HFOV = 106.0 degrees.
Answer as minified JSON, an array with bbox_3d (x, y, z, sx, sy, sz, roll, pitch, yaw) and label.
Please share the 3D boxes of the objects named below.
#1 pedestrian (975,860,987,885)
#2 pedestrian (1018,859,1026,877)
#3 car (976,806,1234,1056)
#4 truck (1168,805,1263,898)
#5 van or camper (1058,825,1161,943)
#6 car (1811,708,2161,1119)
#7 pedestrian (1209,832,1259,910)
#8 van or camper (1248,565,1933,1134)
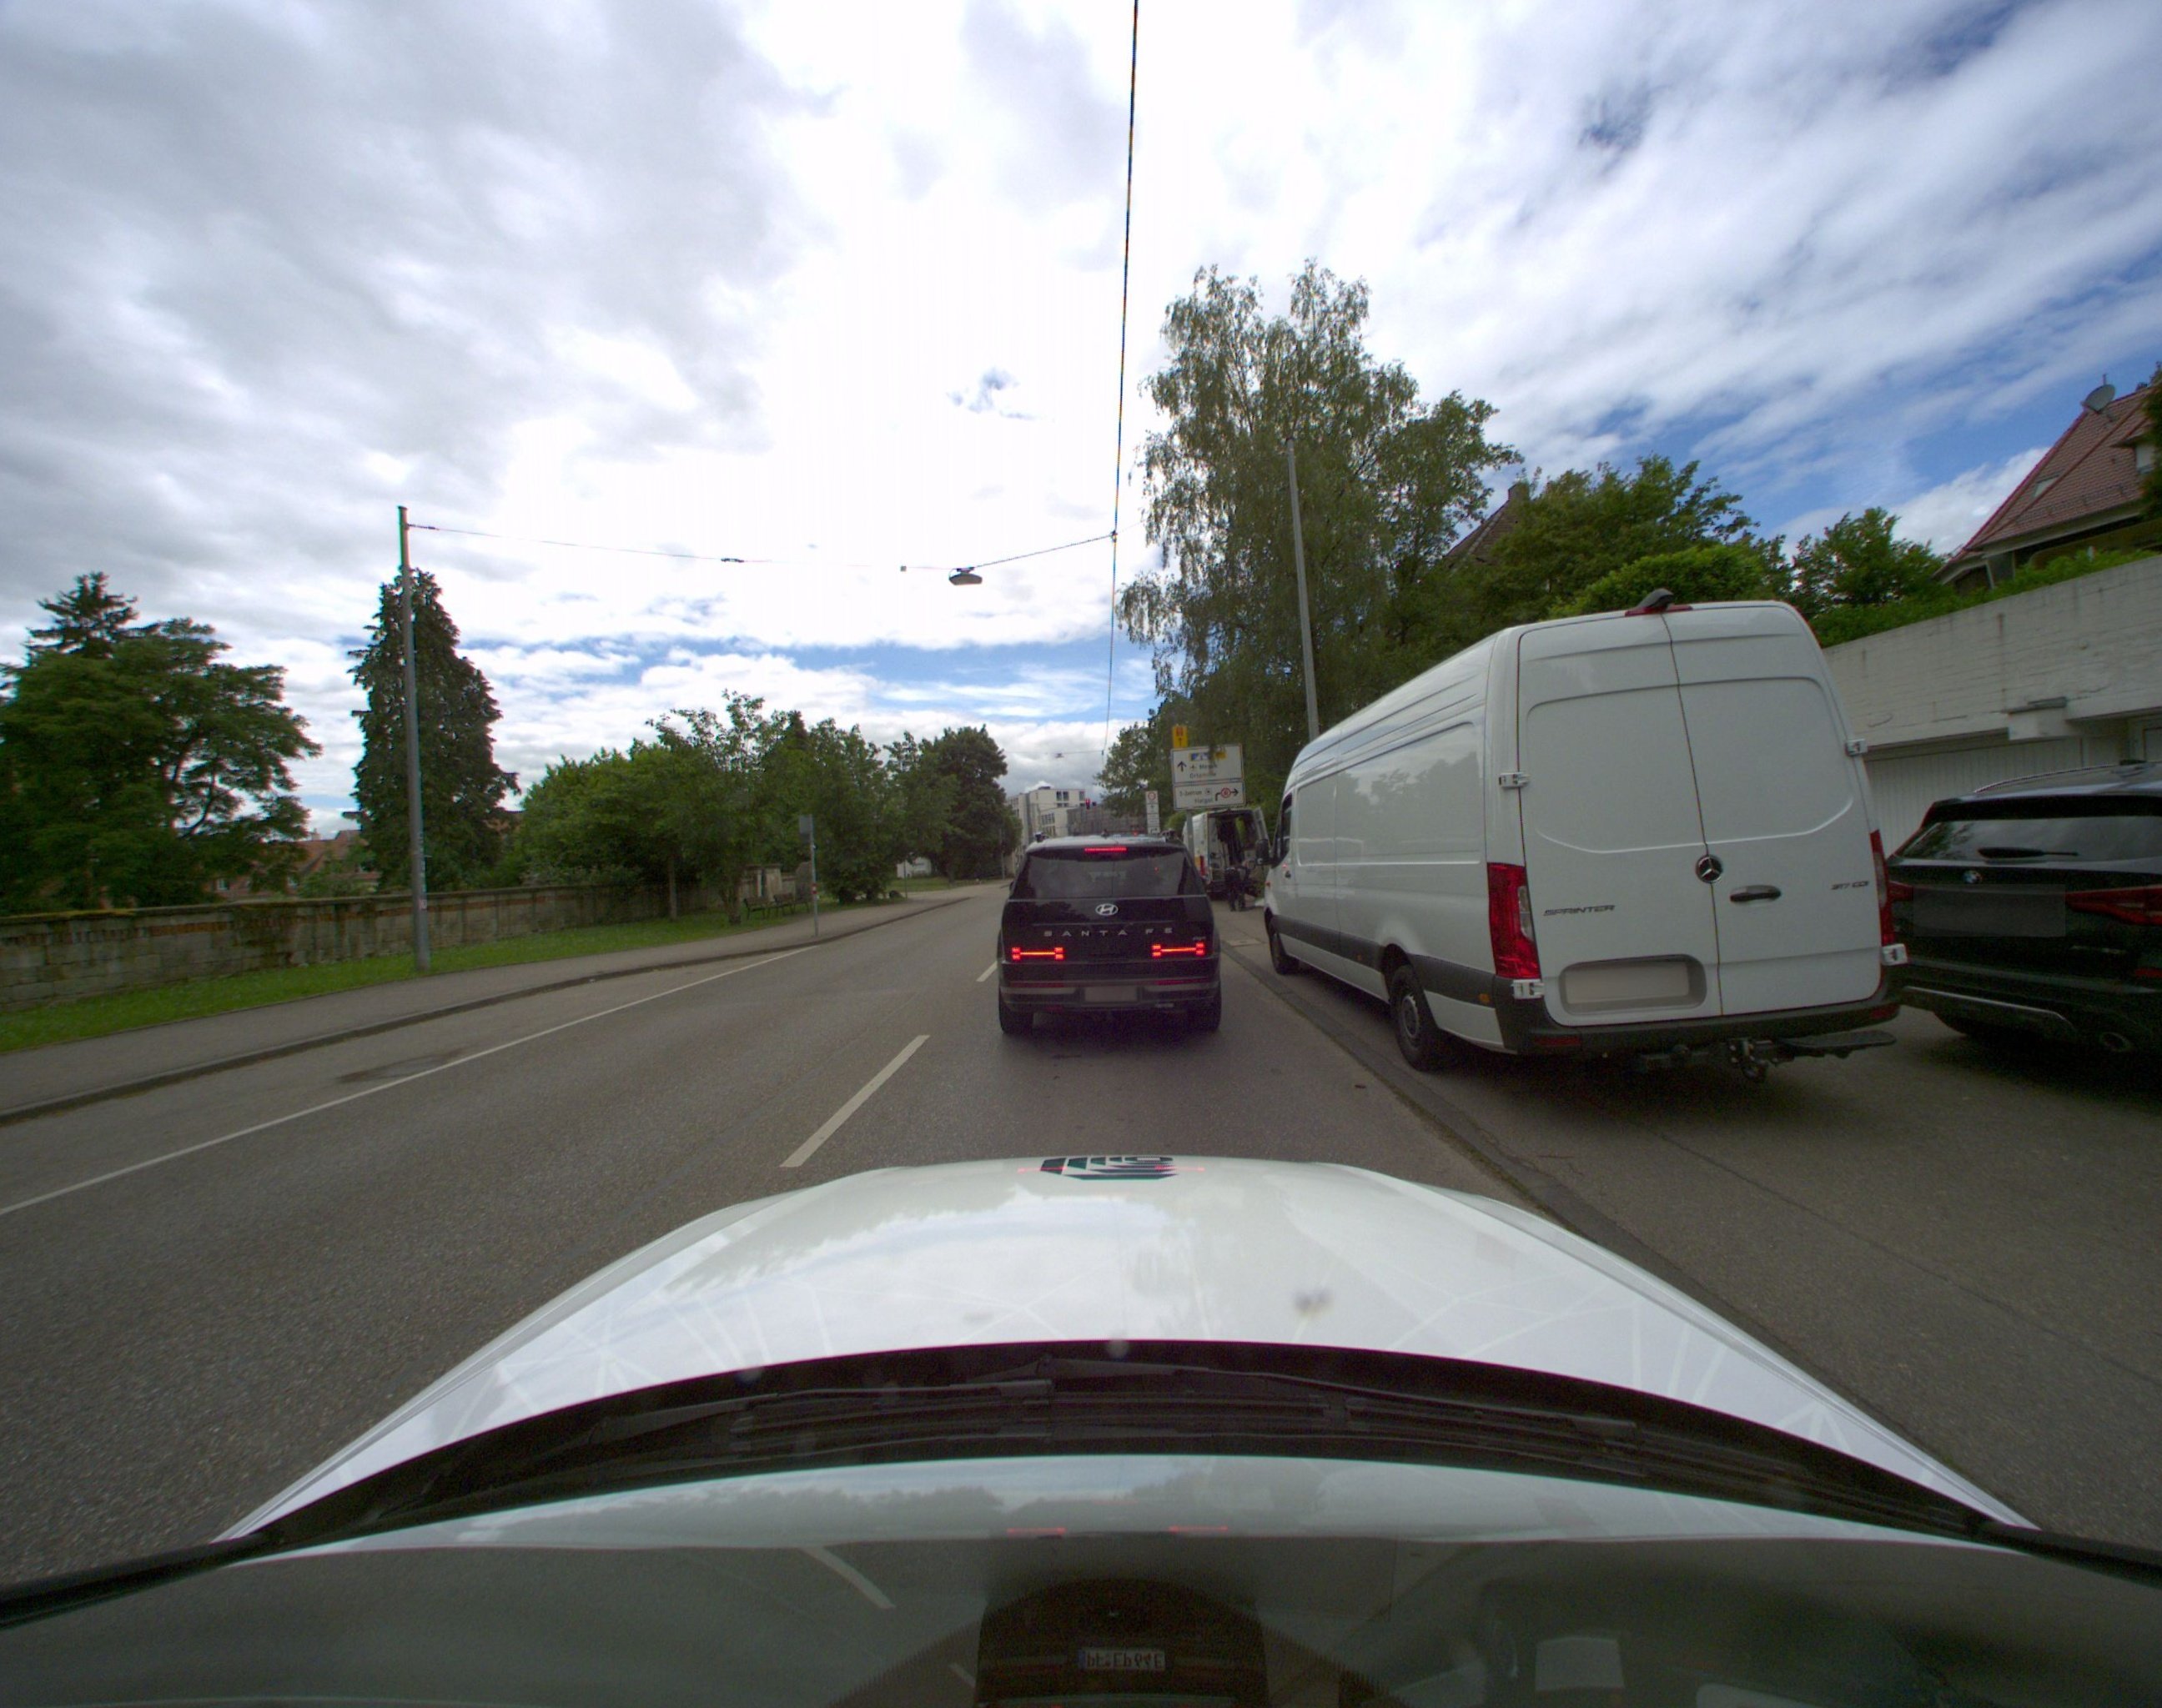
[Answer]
[{"bbox_3d":[-7.051,1.289,57.476,0.737,1.715,0.791,-3,0,-5],"label":"pedestrian"},{"bbox_3d":[-5.779,1.410,79.797,0.737,1.715,0.791,-3,0,-5],"label":"pedestrian"},{"bbox_3d":[0.242,0.584,8.080,1.883,1.819,4.002,-2,0,2],"label":"car"},{"bbox_3d":[4.210,-0.050,26.463,1.937,2.561,5.213,-5,-1,-1],"label":"truck"},{"bbox_3d":[0.578,0.538,16.578,1.748,2.013,4.002,-3,0,2],"label":"van or camper"},{"bbox_3d":[6.823,0.142,4.195,4.398,1.750,1.739,-3,0,3],"label":"car"},{"bbox_3d":[3.659,0.407,19.417,0.750,1.797,0.878,-3,-1,40],"label":"pedestrian"},{"bbox_3d":[3.095,-0.012,7.165,1.986,2.620,6.543,-3,0,2],"label":"van or camper"}]
